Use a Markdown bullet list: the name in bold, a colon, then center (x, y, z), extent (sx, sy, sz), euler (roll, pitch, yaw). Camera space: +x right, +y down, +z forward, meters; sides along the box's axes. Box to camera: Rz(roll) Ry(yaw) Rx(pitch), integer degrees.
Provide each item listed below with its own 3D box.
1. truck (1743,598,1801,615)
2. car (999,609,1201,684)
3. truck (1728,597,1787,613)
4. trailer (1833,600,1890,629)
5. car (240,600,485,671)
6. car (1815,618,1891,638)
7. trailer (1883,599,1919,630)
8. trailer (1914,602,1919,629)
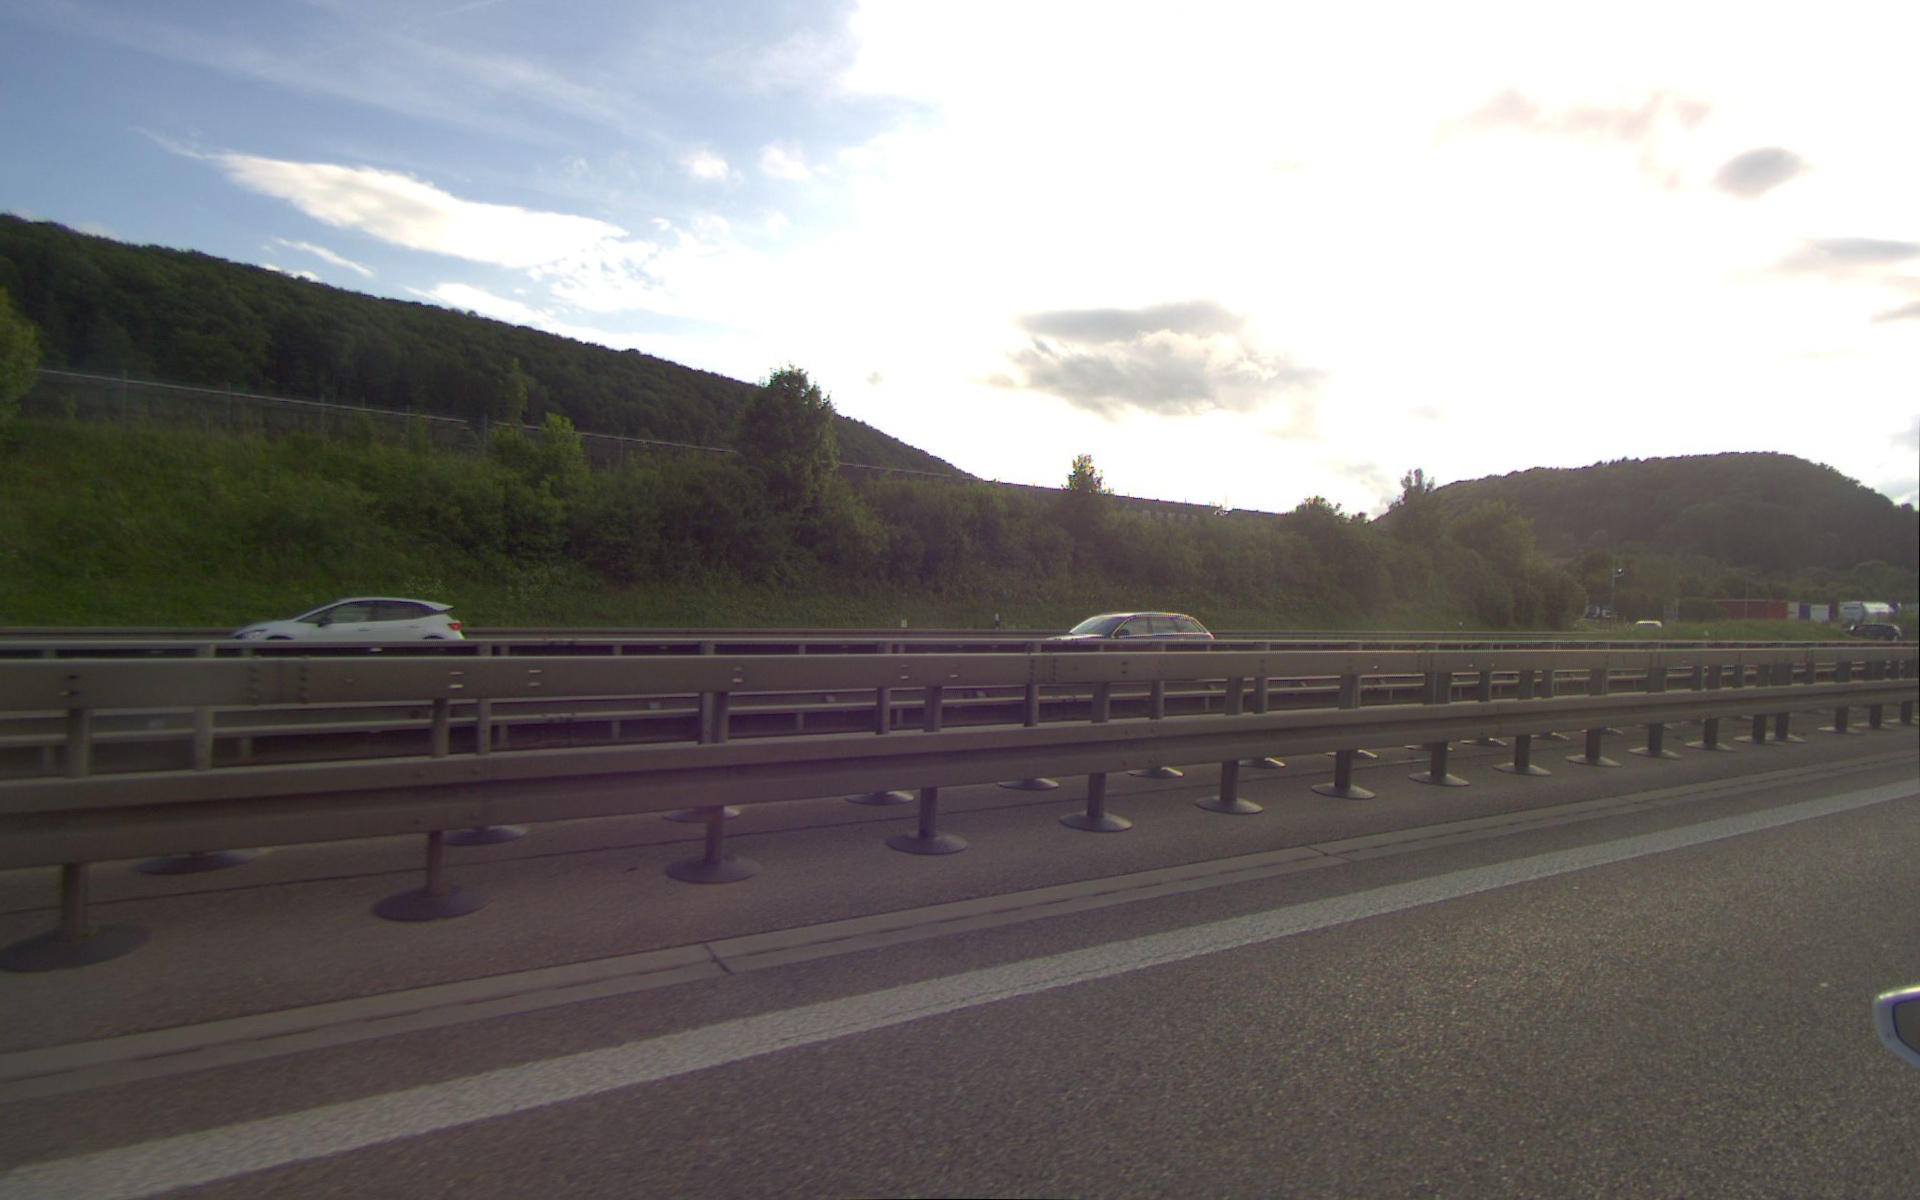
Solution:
- **truck**: center (112.353, 0.910, 139.127), extent (2.841, 2.256, 7.313), euler (1, 0, 7)
- **car**: center (3.048, 0.997, 21.847), extent (3.950, 1.505, 1.986), euler (2, -1, -28)
- **truck**: center (108.086, 0.680, 136.259), extent (2.841, 2.040, 7.313), euler (2, -1, 7)
- **trailer**: center (103.560, 1.665, 115.300), extent (12.151, 2.891, 2.560), euler (3, -1, -37)
- **car**: center (-12.736, 0.725, 21.541), extent (4.344, 1.376, 1.745), euler (1, -1, -38)
- **car**: center (73.677, 2.254, 82.894), extent (1.987, 1.572, 4.558), euler (1, -1, -44)
- **trailer**: center (122.786, 1.979, 129.879), extent (13.554, 3.745, 2.855), euler (2, -2, -38)
- **trailer**: center (139.792, 2.296, 144.104), extent (13.566, 3.744, 2.853), euler (2, -2, -40)
